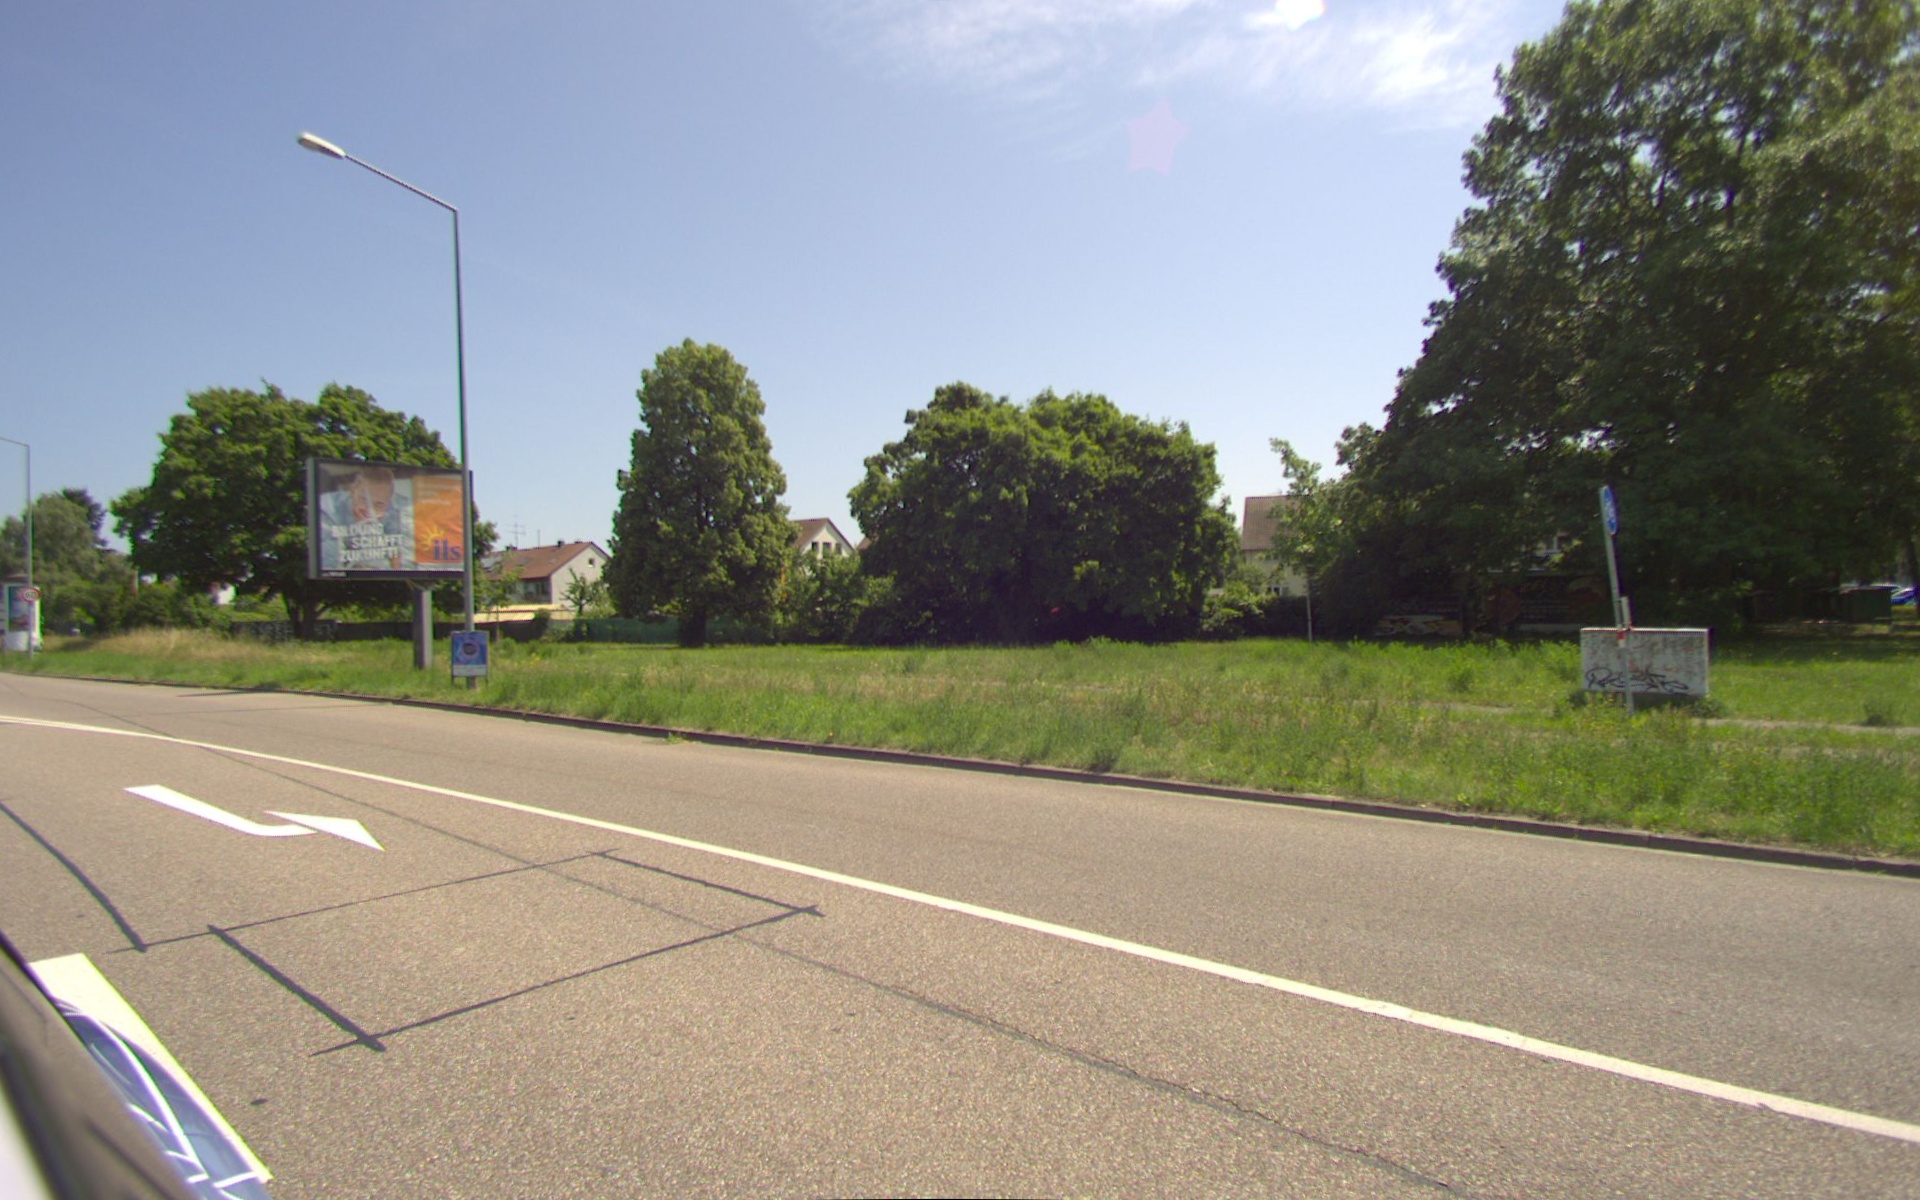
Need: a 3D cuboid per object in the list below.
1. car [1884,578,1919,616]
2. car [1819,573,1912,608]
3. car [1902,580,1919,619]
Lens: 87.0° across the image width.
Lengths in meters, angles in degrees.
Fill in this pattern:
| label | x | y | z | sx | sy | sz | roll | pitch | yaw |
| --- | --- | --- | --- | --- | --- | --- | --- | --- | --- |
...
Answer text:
| label | x | y | z | sx | sy | sz | roll | pitch | yaw |
| --- | --- | --- | --- | --- | --- | --- | --- | --- | --- |
| car | 55.914 | -0.213 | 57.915 | 3.974 | 2.028 | 1.985 | -2 | 2 | 23 |
| car | 58.585 | -0.640 | 65.535 | 3.974 | 2.028 | 1.985 | -2 | 2 | 23 |
| car | 54.943 | -0.079 | 55.738 | 3.974 | 2.028 | 1.985 | -2 | 2 | 23 |
